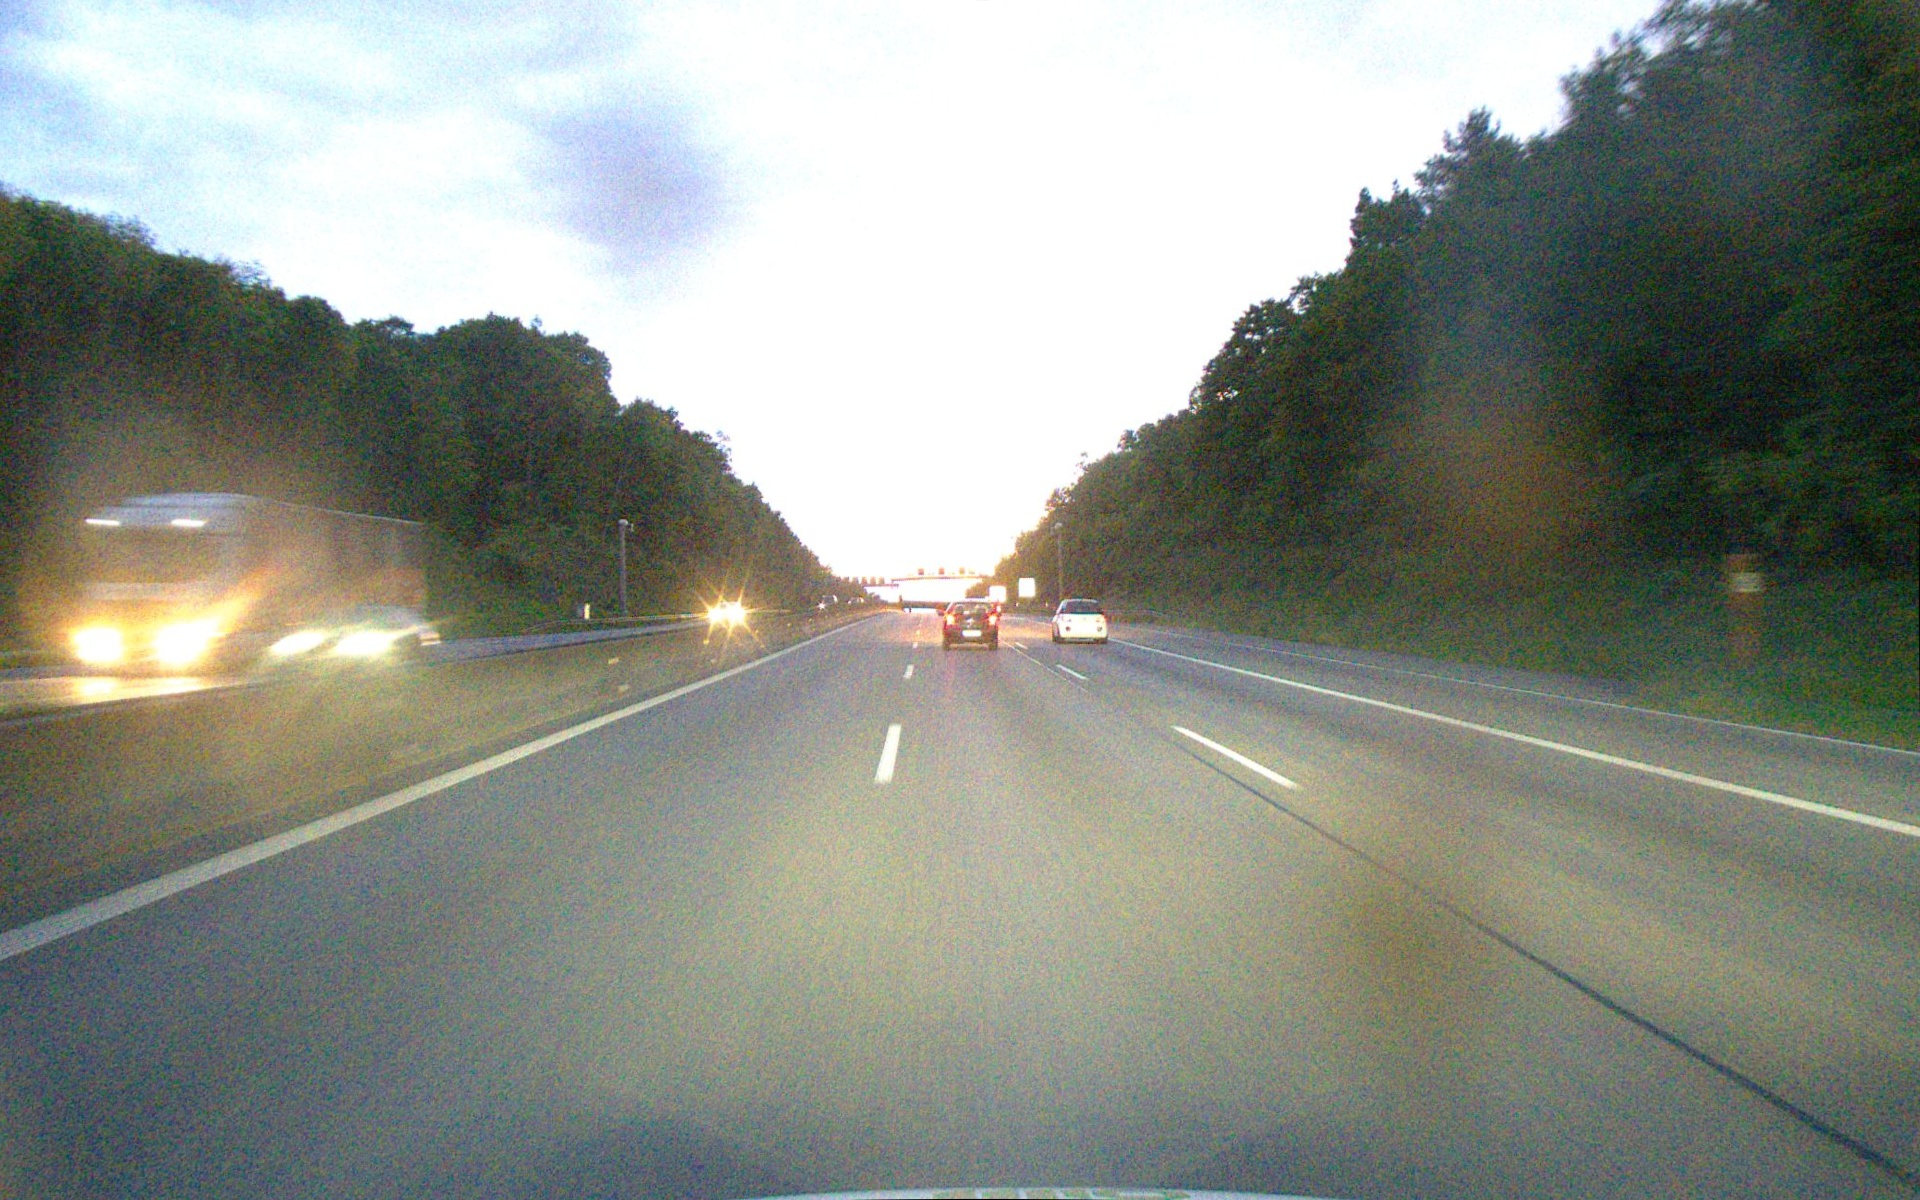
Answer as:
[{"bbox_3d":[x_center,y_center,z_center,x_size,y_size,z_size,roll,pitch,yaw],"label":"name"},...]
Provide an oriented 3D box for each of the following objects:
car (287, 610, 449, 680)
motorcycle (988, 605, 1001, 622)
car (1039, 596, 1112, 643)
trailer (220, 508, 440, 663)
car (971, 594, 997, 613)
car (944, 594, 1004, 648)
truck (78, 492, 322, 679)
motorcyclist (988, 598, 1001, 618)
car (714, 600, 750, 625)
[{"bbox_3d":[-13.595,0.987,38.346,1.871,1.477,5.353,0,0,-1],"label":"car"},{"bbox_3d":[2.341,0.930,112.972,0.813,1.154,2.475,0,-1,-1],"label":"motorcycle"},{"bbox_3d":[3.911,0.682,56.499,1.790,1.502,4.393,1,-1,-5],"label":"car"},{"bbox_3d":[-17.968,-0.376,48.077,2.593,3.999,10.183,0,0,-1],"label":"trailer"},{"bbox_3d":[2.173,0.313,148.549,1.829,1.520,4.393,1,-1,-5],"label":"car"},{"bbox_3d":[0.390,0.652,49.512,1.669,1.536,4.230,1,-1,-1],"label":"car"},{"bbox_3d":[-17.866,-0.307,39.449,2.593,4.041,7.120,0,0,-1],"label":"truck"},{"bbox_3d":[2.339,0.553,112.910,0.813,1.314,1.189,0,-1,-1],"label":"motorcyclist"},{"bbox_3d":[-15.208,0.824,110.481,1.843,1.602,4.653,-1,0,-2],"label":"car"}]
